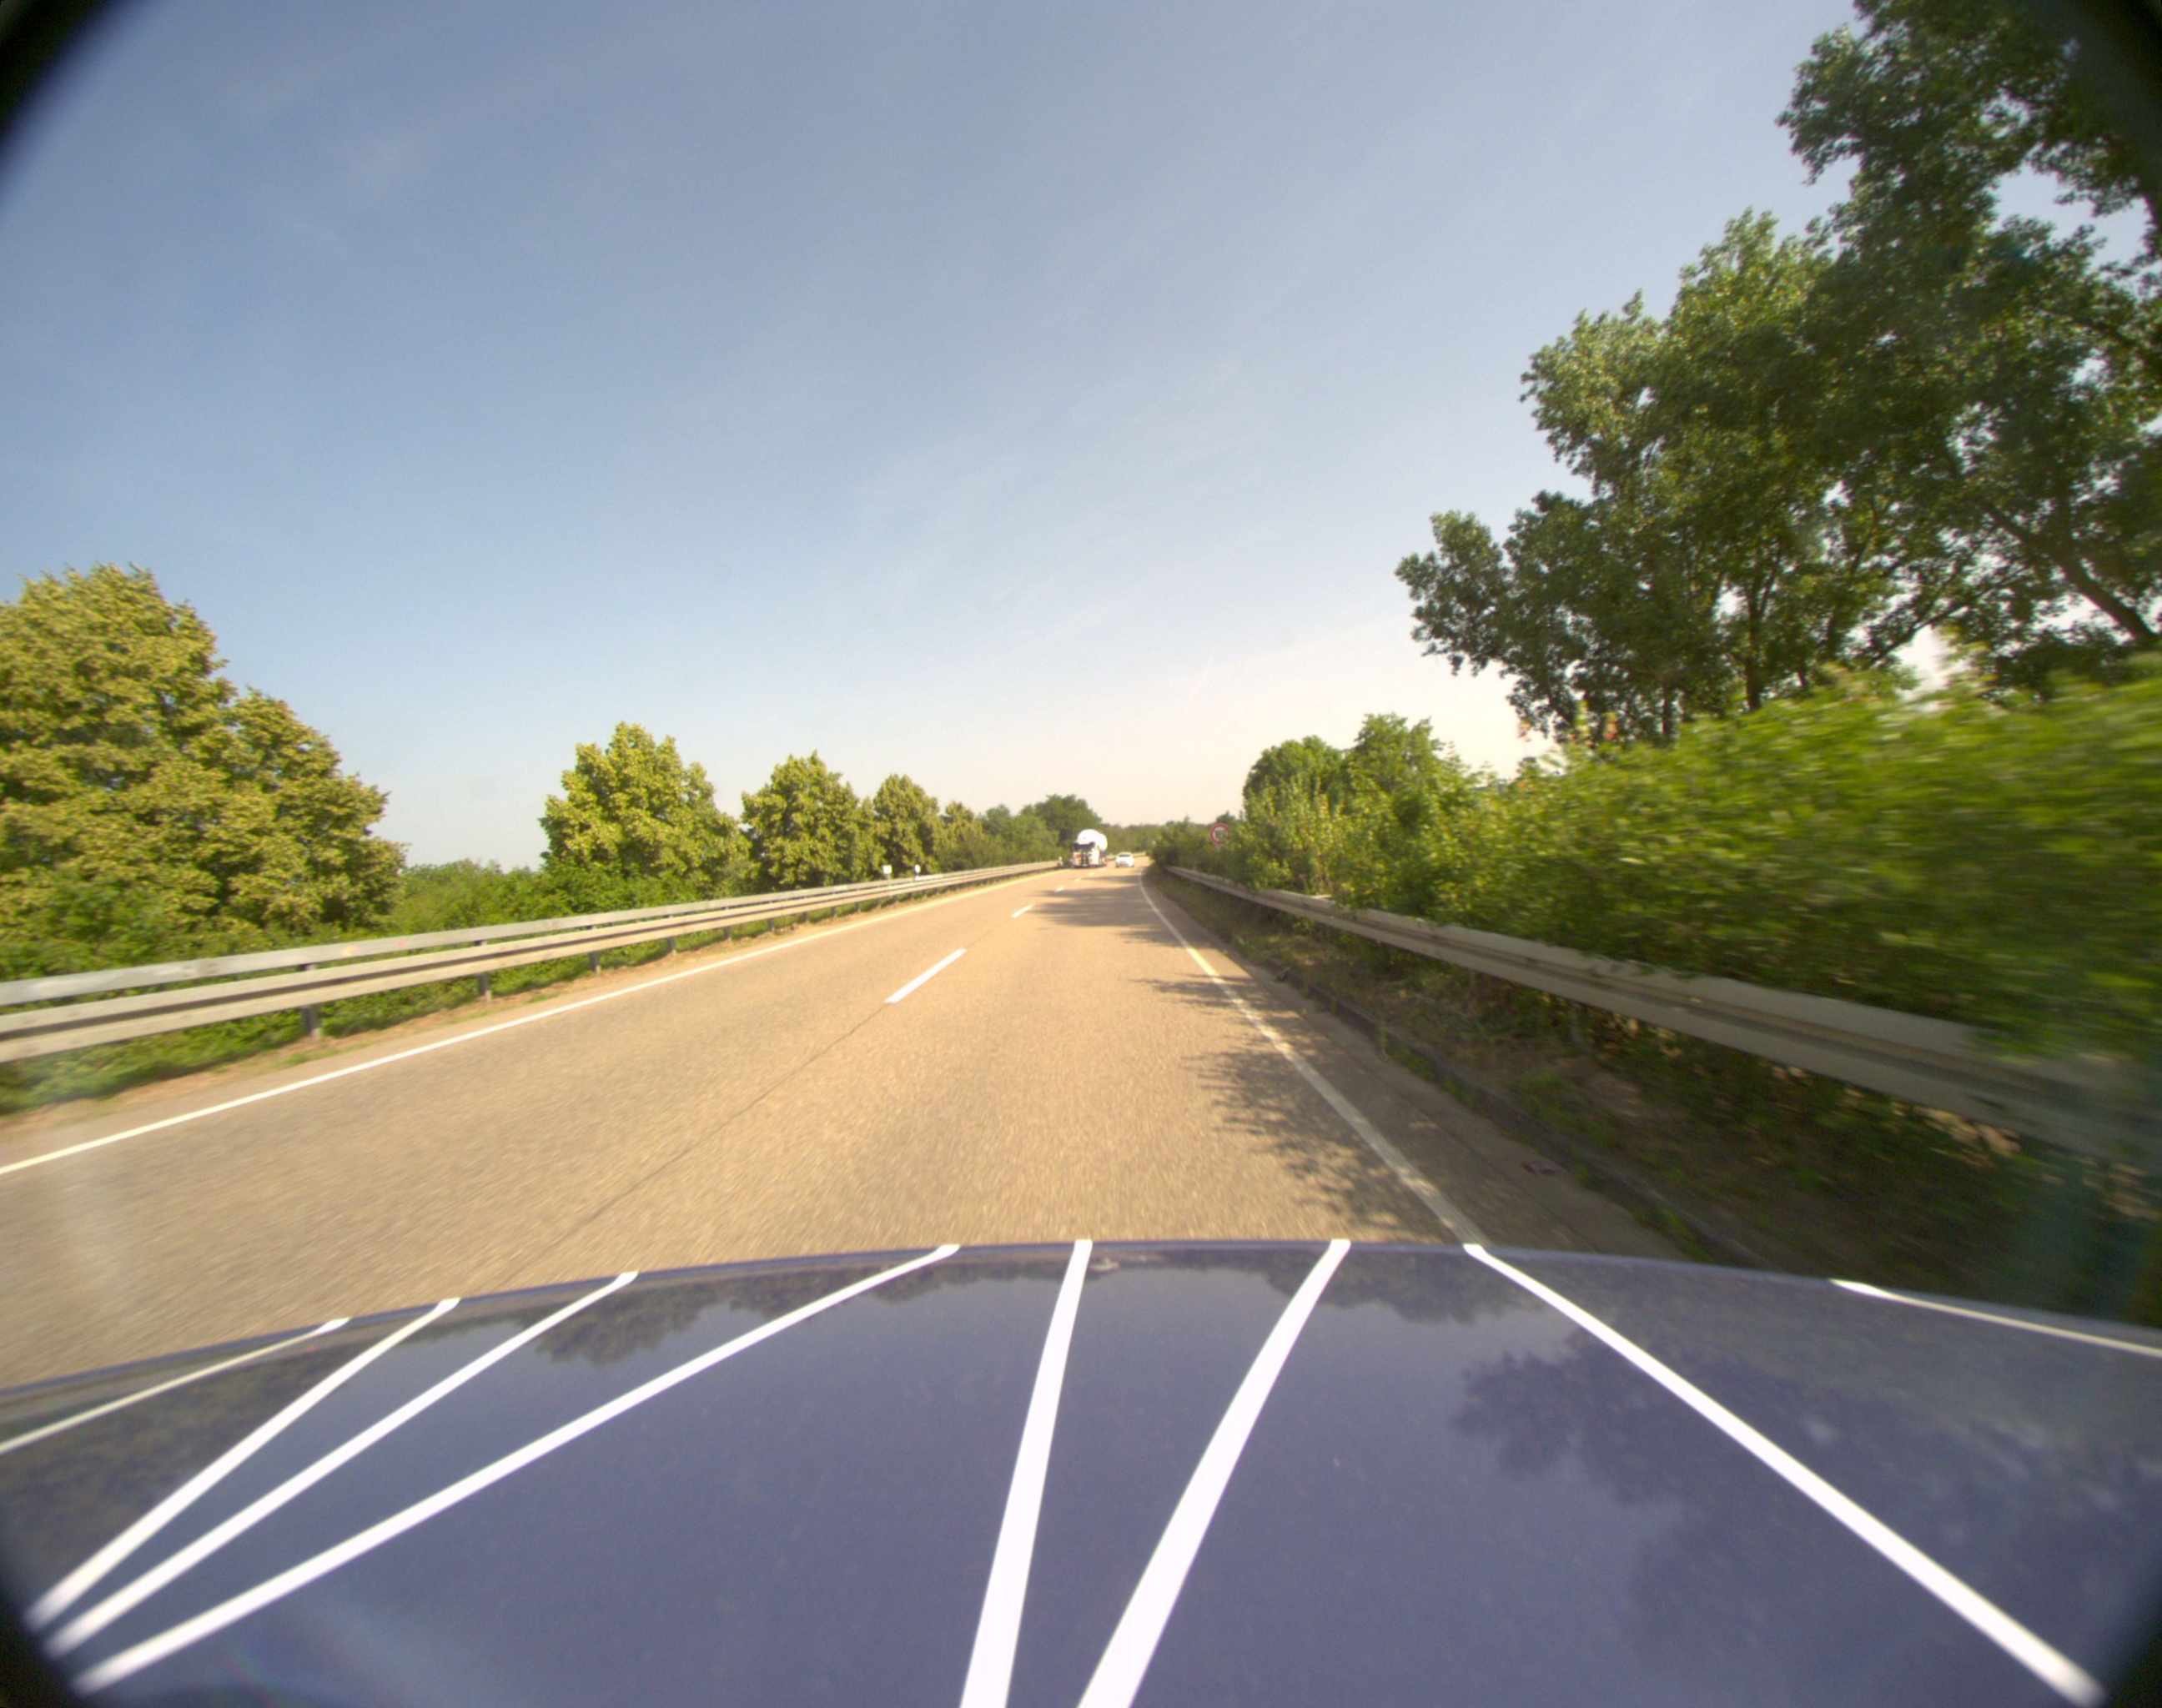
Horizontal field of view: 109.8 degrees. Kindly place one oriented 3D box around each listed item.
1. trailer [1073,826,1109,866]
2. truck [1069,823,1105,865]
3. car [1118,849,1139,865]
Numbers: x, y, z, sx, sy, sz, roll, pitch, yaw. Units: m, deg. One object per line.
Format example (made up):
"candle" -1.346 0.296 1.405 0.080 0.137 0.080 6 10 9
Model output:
"trailer" 1.156 -0.915 80.684 2.762 3.969 8.189 -2 1 7
"truck" 0.678 -1.035 76.788 2.777 3.939 5.629 -2 1 7
"car" 4.849 0.273 76.691 1.788 1.427 4.001 -3 1 8
